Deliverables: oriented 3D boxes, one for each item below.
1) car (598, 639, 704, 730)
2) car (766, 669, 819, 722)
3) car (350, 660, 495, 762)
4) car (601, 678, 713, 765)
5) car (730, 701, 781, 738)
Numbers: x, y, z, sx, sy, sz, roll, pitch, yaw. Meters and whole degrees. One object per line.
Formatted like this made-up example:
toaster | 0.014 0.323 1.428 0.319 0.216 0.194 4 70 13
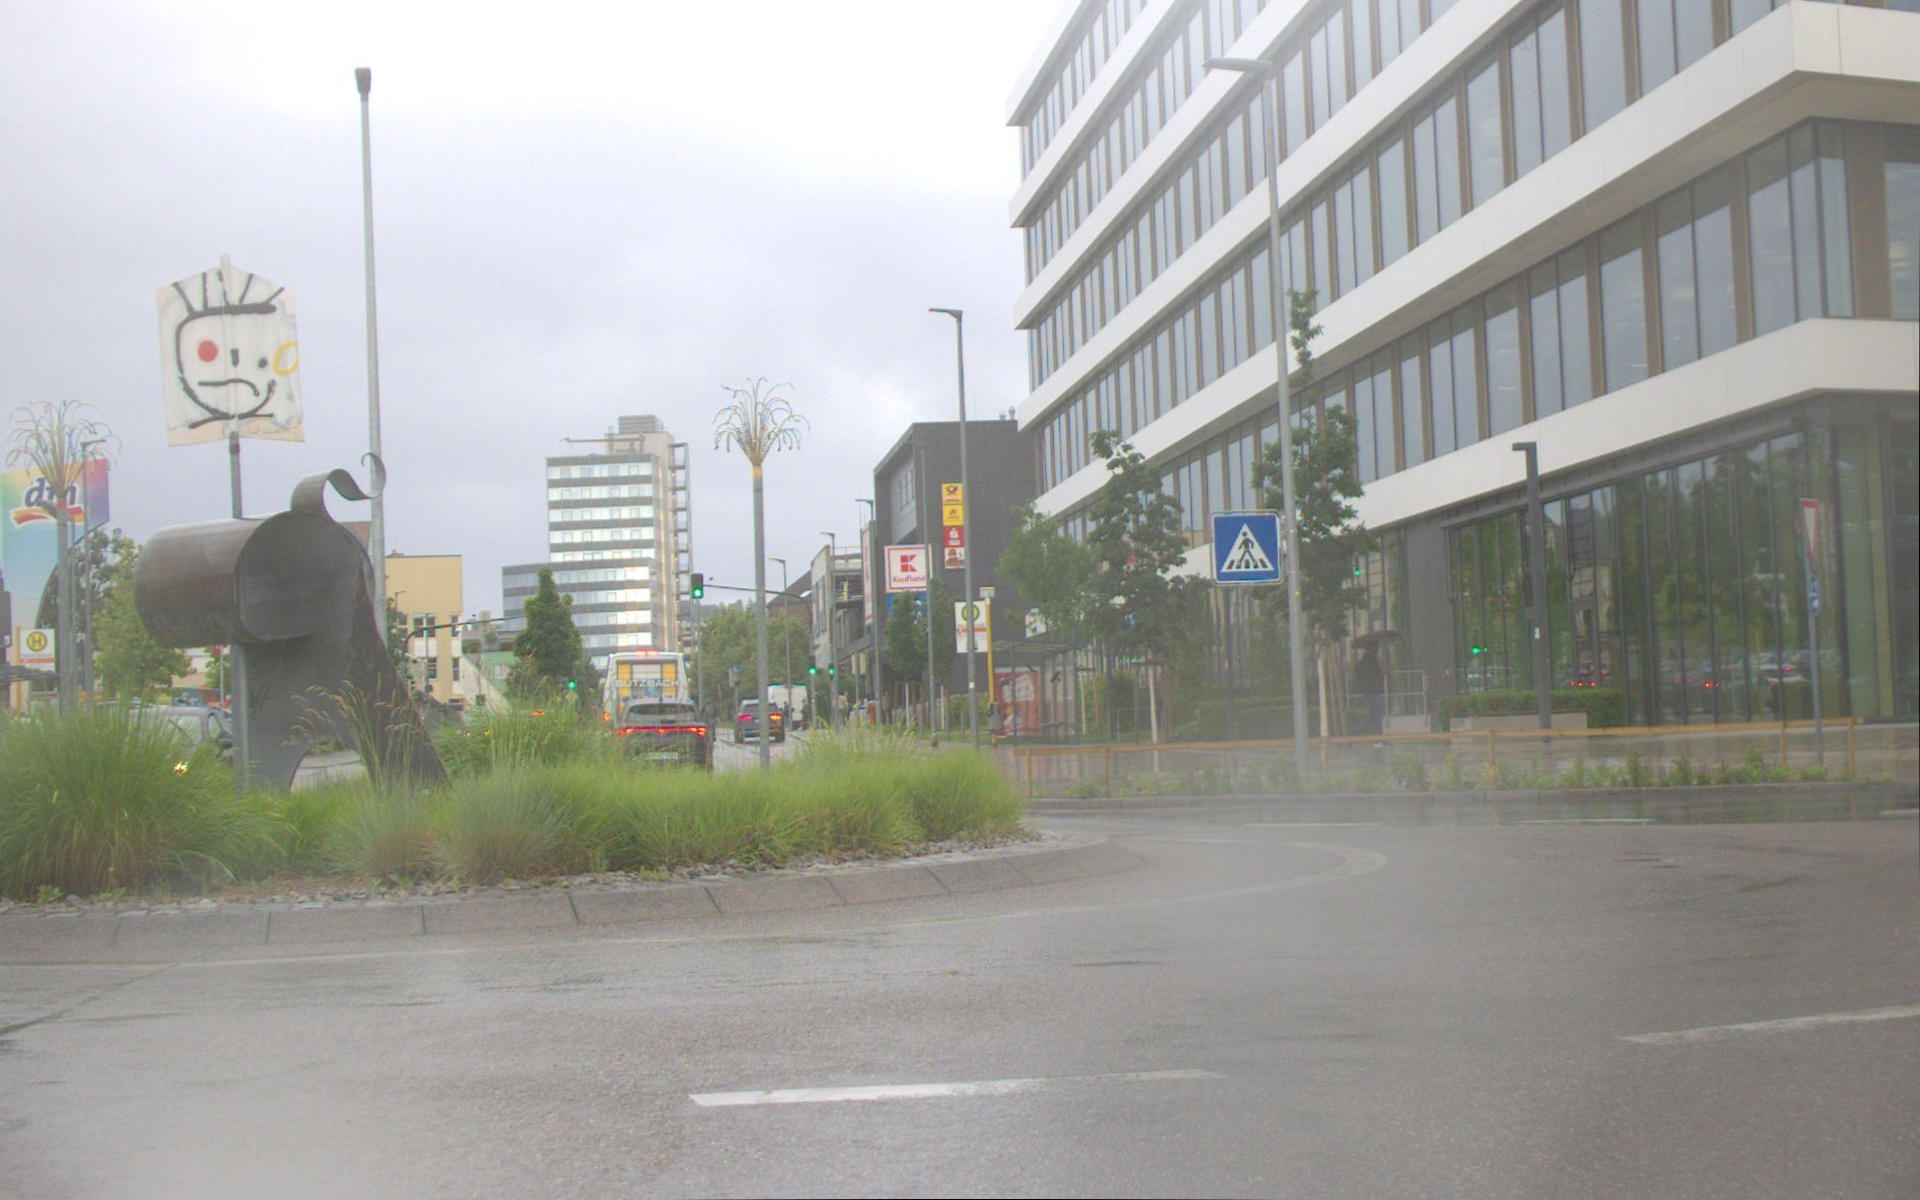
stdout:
car | -6.806 1.895 76.124 1.993 1.897 3.999 -1 -2 -1
car | -7.038 3.993 144.600 1.993 2.007 5.000 -1 1 -1
car | -7.824 1.642 50.271 1.595 1.405 3.500 -1 -2 -1
car | -5.115 2.077 58.370 1.794 1.405 3.421 -1 -2 -3
car | -8.011 4.692 134.878 1.794 1.405 4.215 -1 -2 -1
